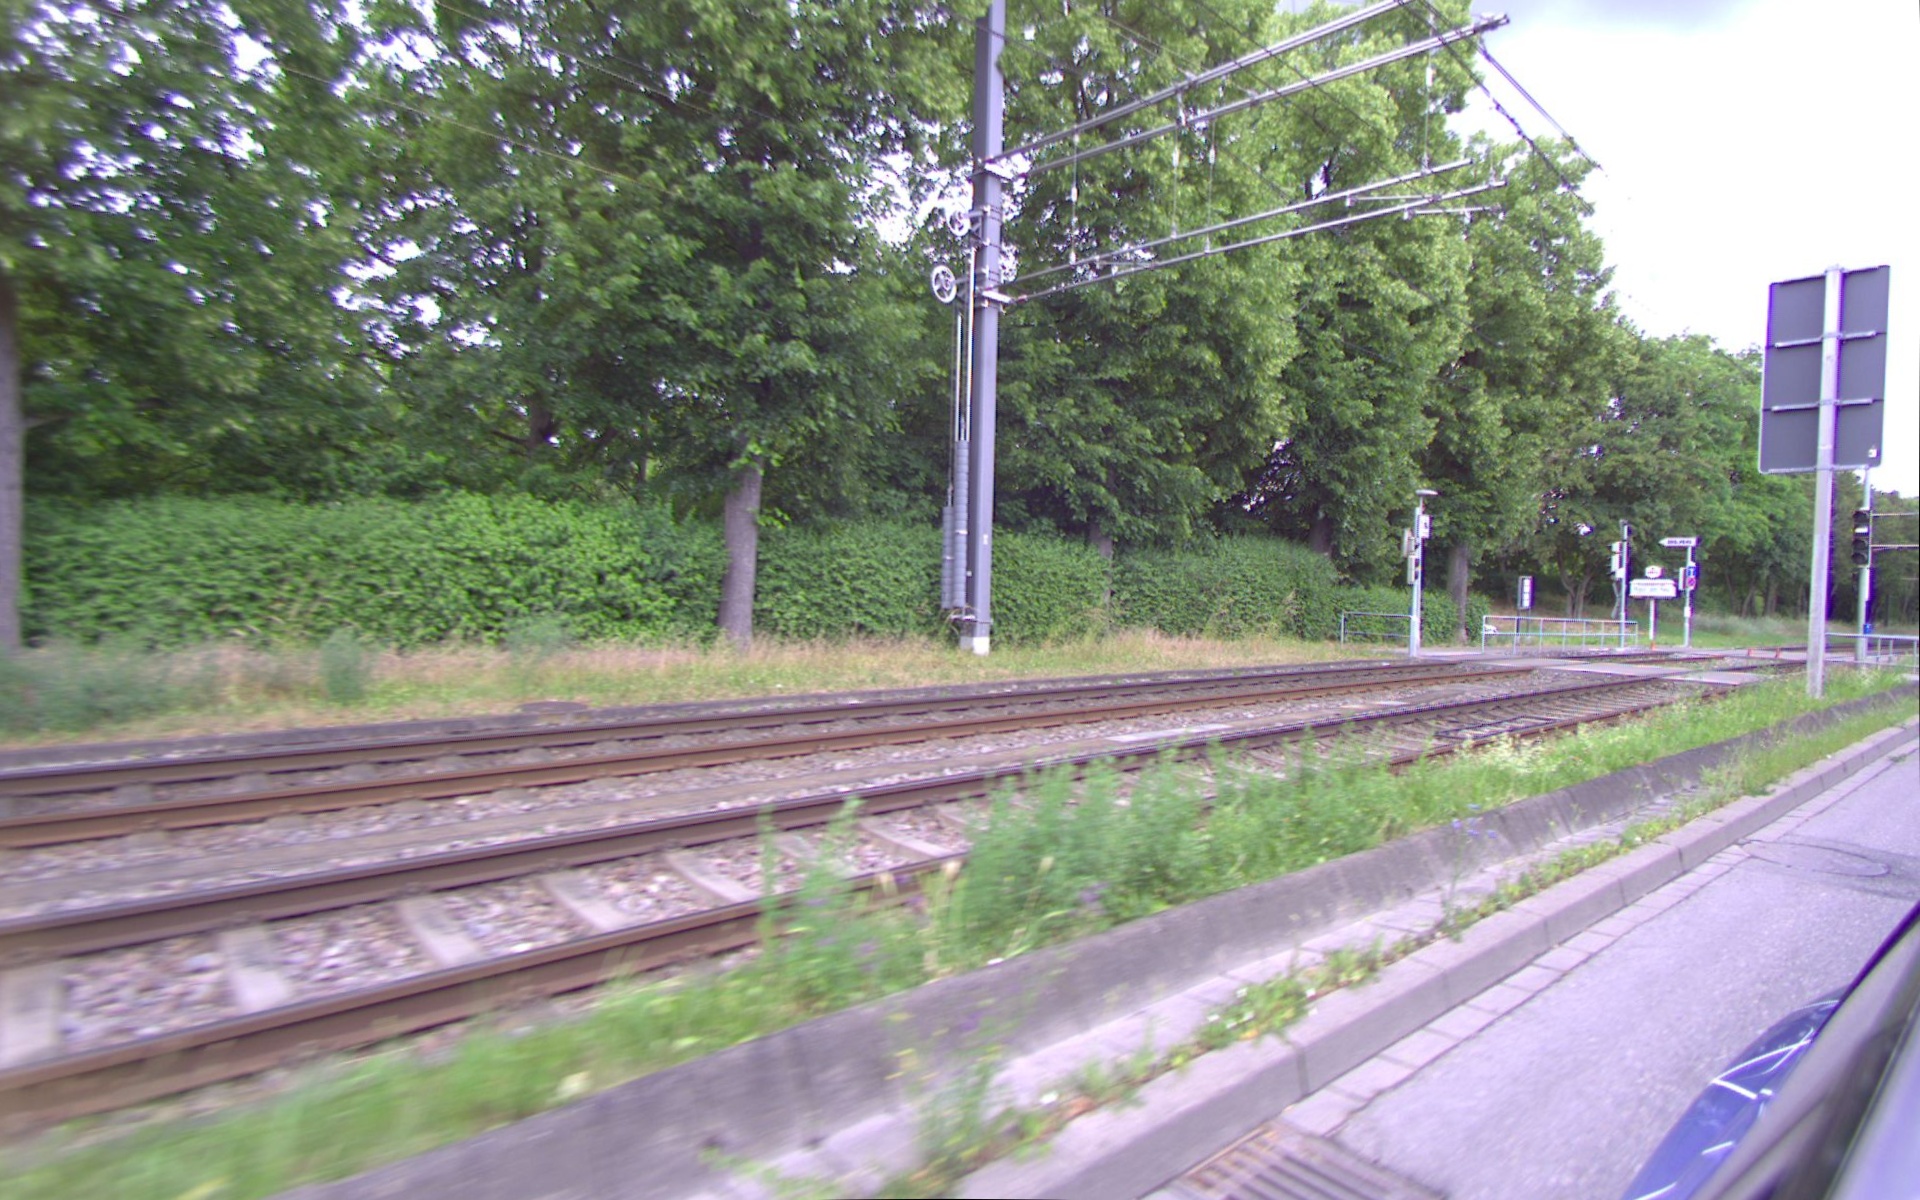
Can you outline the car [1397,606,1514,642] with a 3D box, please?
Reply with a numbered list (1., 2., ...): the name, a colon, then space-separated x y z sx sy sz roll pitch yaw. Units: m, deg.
1. car: 20.515 0.990 42.037 1.754 1.402 3.992 1 -2 -41
